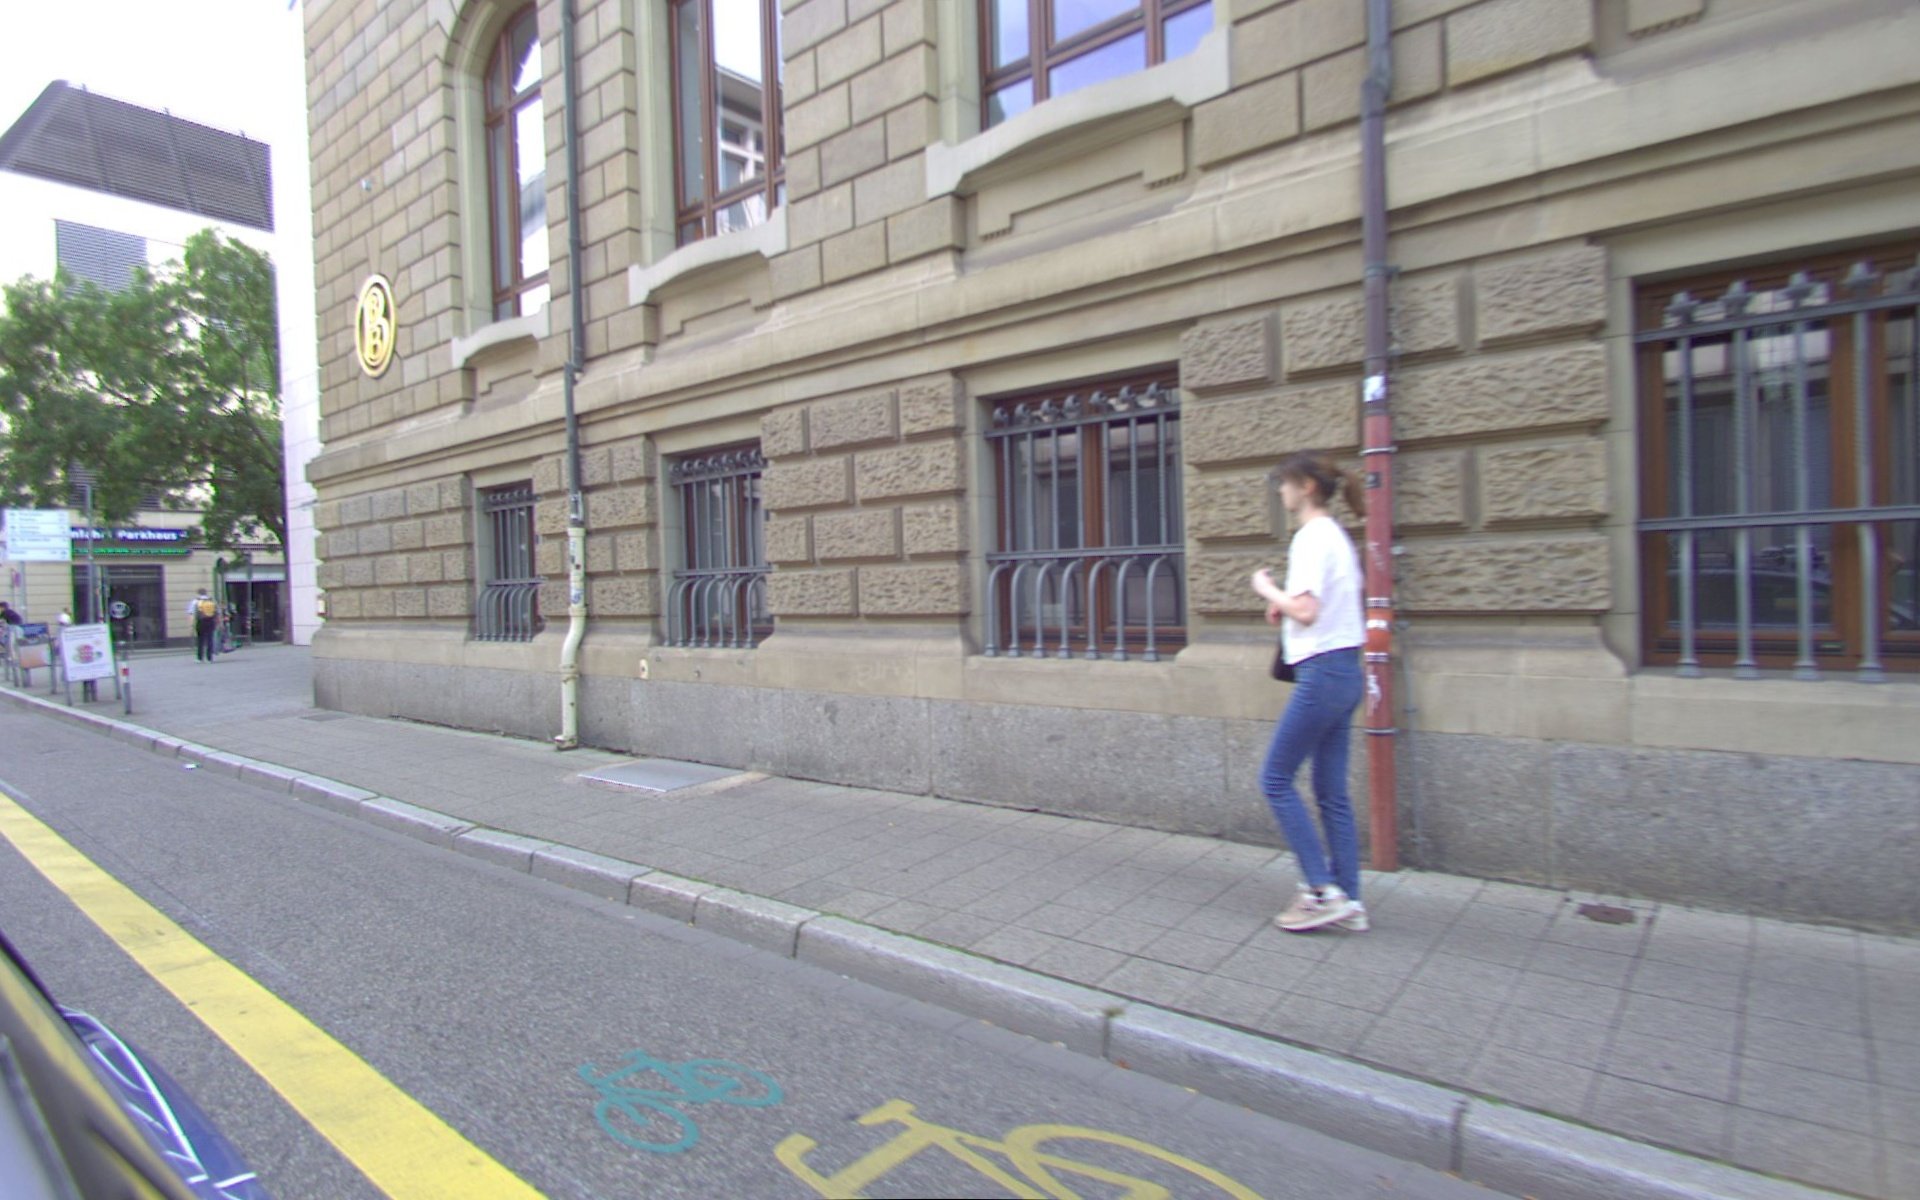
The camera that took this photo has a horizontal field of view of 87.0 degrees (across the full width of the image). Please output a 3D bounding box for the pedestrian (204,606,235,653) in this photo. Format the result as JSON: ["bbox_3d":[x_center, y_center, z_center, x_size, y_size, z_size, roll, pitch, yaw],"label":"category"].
[{"bbox_3d":[-29.404,1.156,40.205,0.857,1.844,0.642,-1,1,27],"label":"pedestrian"}]

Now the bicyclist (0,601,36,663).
[{"bbox_3d":[-25.730,0.866,27.466,0.633,1.631,0.624,-4,2,-14],"label":"bicyclist"}]

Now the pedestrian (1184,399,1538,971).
[{"bbox_3d":[1.507,0.266,3.824,1.047,1.833,0.657,-1,3,40],"label":"pedestrian"}]

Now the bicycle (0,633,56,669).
[{"bbox_3d":[-25.779,1.419,27.465,1.696,0.840,0.603,-6,1,-14],"label":"bicycle"}]

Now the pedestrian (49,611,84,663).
[{"bbox_3d":[-32.804,1.350,37.156,0.857,1.844,0.642,-1,1,27],"label":"pedestrian"}]

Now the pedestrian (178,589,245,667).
[{"bbox_3d":[-17.751,0.651,24.009,0.818,1.732,1.016,-1,3,40],"label":"pedestrian"}]

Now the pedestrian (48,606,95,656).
[{"bbox_3d":[-33.743,1.166,38.426,0.891,1.777,1.048,-1,4,35],"label":"pedestrian"}]
